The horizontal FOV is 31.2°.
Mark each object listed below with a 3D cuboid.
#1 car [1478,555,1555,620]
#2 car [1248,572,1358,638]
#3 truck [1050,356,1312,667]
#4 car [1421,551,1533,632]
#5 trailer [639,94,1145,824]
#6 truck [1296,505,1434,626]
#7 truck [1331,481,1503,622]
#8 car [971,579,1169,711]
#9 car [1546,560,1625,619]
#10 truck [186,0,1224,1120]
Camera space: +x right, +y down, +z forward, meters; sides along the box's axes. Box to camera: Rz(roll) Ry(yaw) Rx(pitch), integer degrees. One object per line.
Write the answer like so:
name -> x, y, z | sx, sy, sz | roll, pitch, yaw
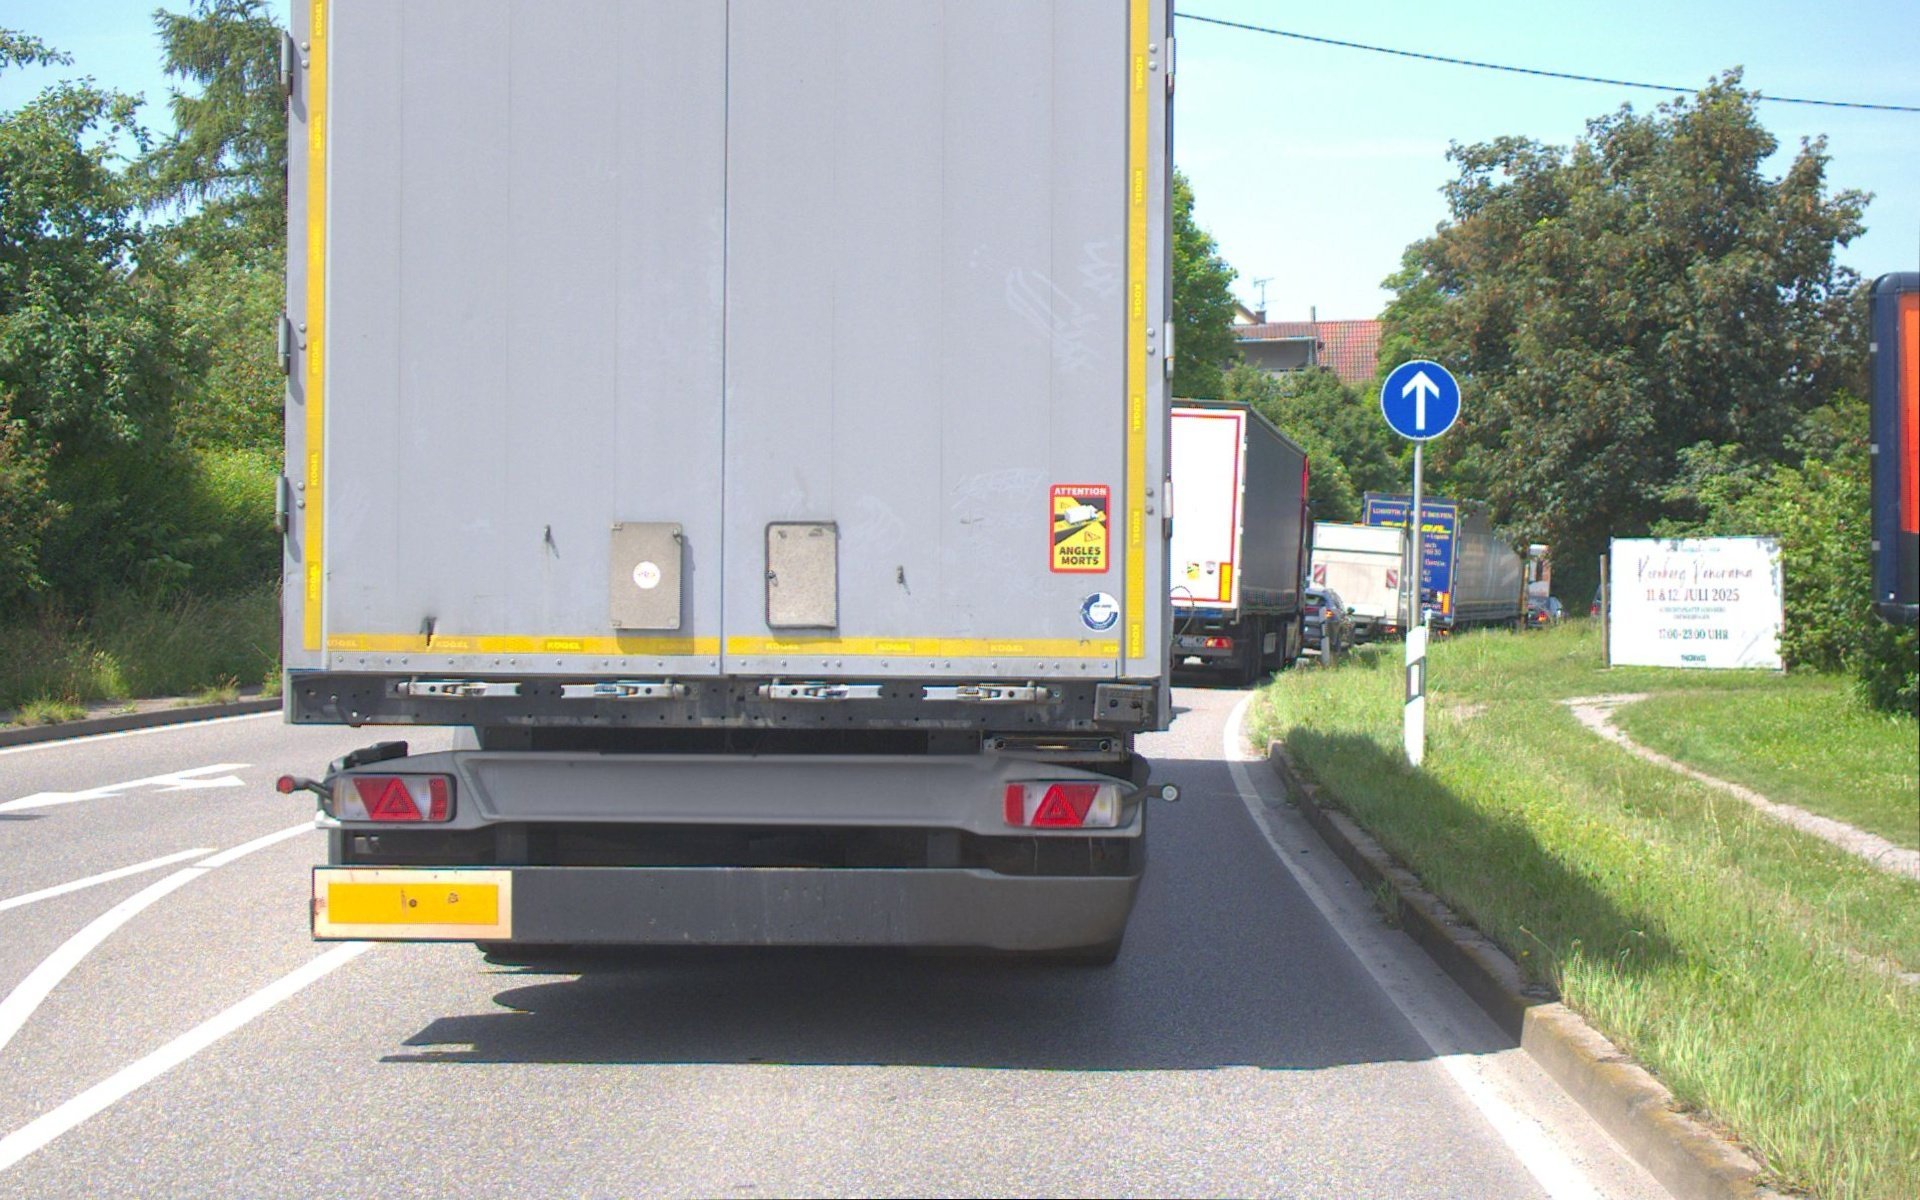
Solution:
car -> 17.950, -0.397, 110.804 | 1.995, 2.007, 3.997 | 1, 0, 15
car -> 7.541, 0.108, 75.316 | 1.994, 1.371, 3.998 | 1, 0, 11
truck -> 3.888, -1.231, 55.818 | 2.761, 4.274, 16.409 | 1, 0, 9
car -> 15.459, -0.296, 102.526 | 2.533, 2.269, 6.376 | 1, 1, 15
trailer -> -0.274, -0.856, 22.634 | 2.825, 4.097, 6.544 | 0, 1, 2
truck -> 9.846, -0.805, 83.178 | 2.545, 2.793, 6.028 | 1, 0, 14
truck -> 12.513, -1.347, 93.279 | 3.435, 3.592, 9.347 | 1, 1, 15
car -> 1.265, 0.472, 37.939 | 1.819, 1.342, 3.846 | 1, 0, 7
car -> 21.661, -0.353, 118.989 | 1.995, 2.007, 3.996 | 1, 0, 20
truck -> -0.519, -0.759, 15.155 | 2.822, 4.113, 11.443 | 1, 1, 2
